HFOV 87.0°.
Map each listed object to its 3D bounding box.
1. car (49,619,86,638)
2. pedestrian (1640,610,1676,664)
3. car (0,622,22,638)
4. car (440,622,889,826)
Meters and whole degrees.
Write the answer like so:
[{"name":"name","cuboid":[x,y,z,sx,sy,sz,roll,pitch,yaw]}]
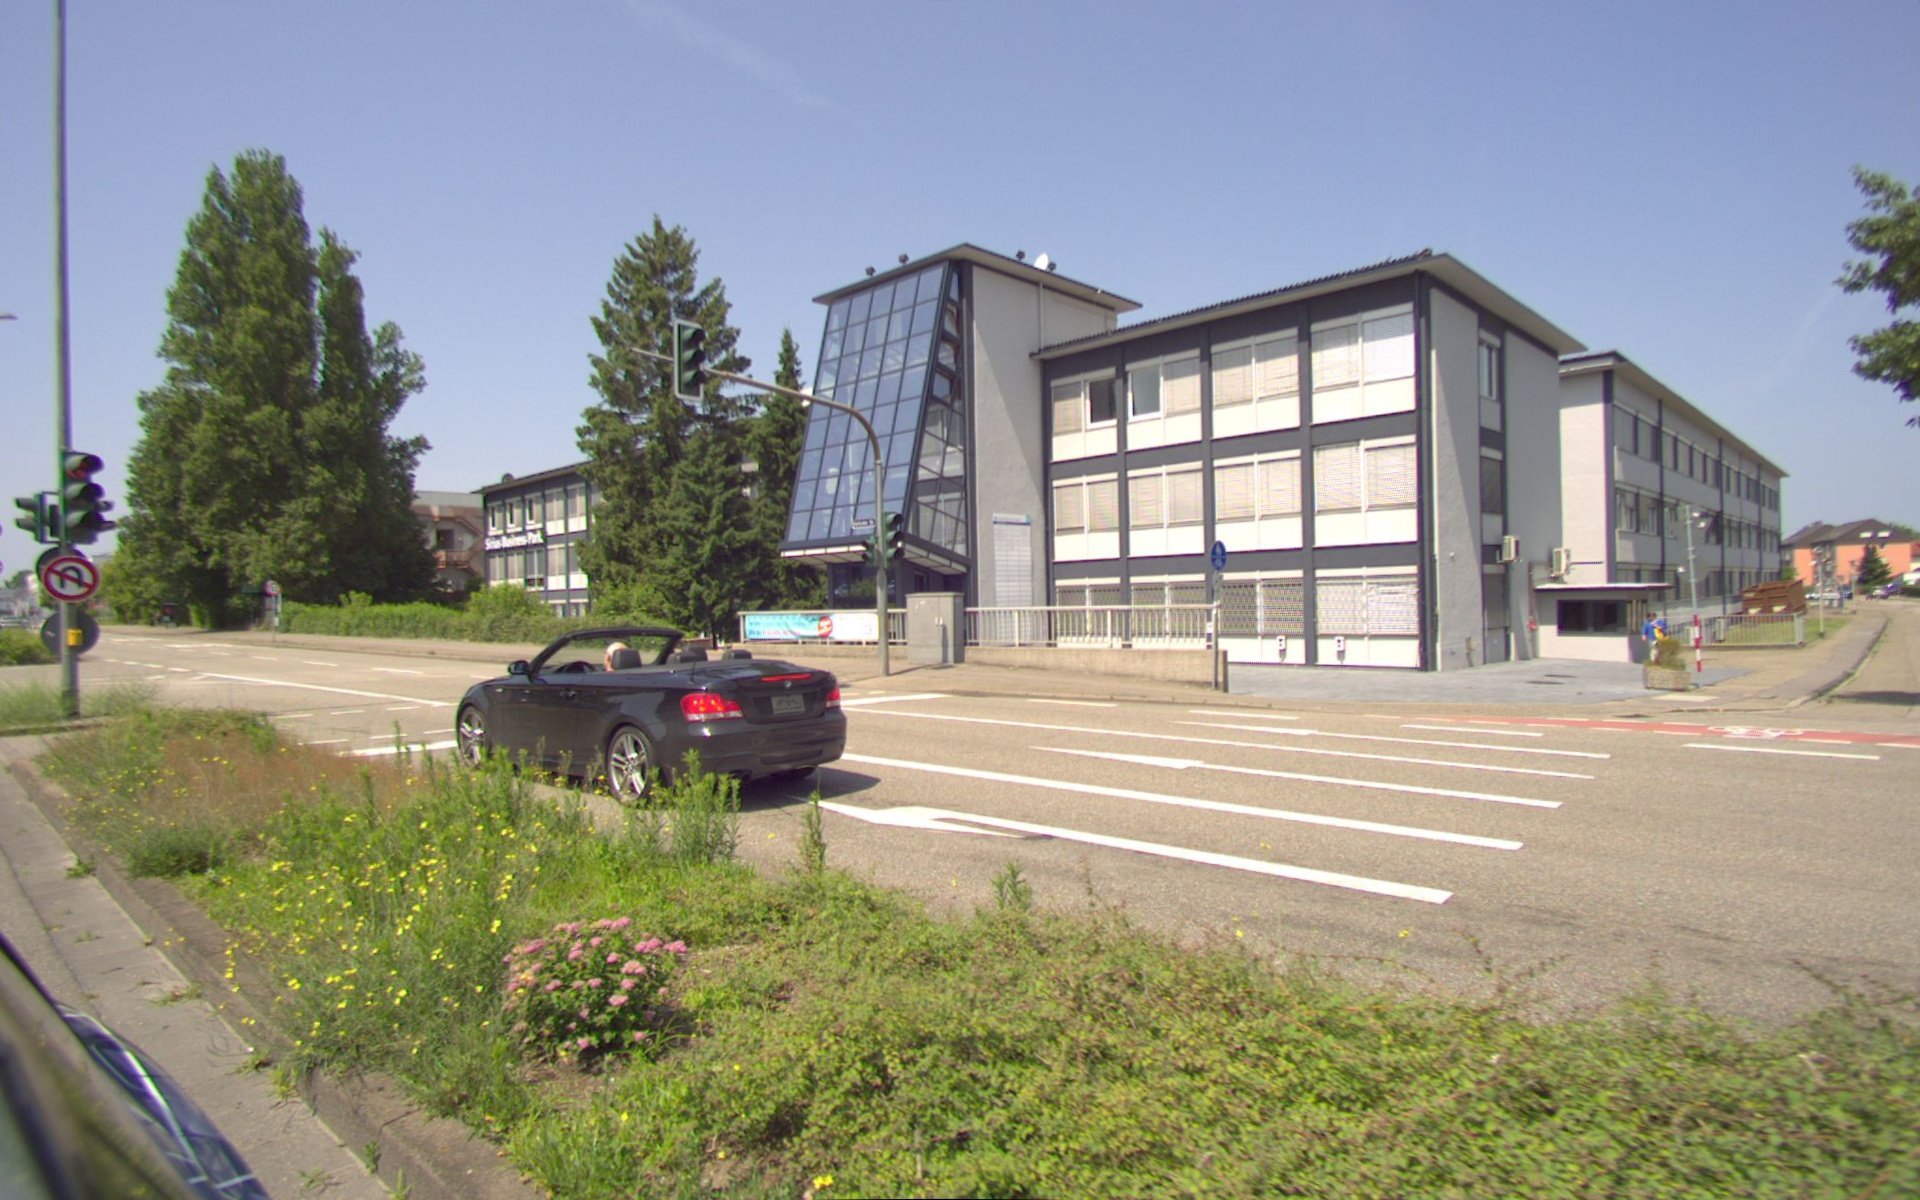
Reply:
[{"name":"car","cuboid":[-77.872,2.451,88.302,4.285,1.572,1.874,-1,-1,41]},{"name":"pedestrian","cuboid":[21.492,1.134,31.166,0.857,1.637,0.677,-1,-1,32]},{"name":"car","cuboid":[-87.946,2.760,93.357,4.090,1.429,1.741,0,0,42]},{"name":"car","cuboid":[-2.712,0.877,8.796,4.145,1.334,1.712,-1,-1,39]}]
